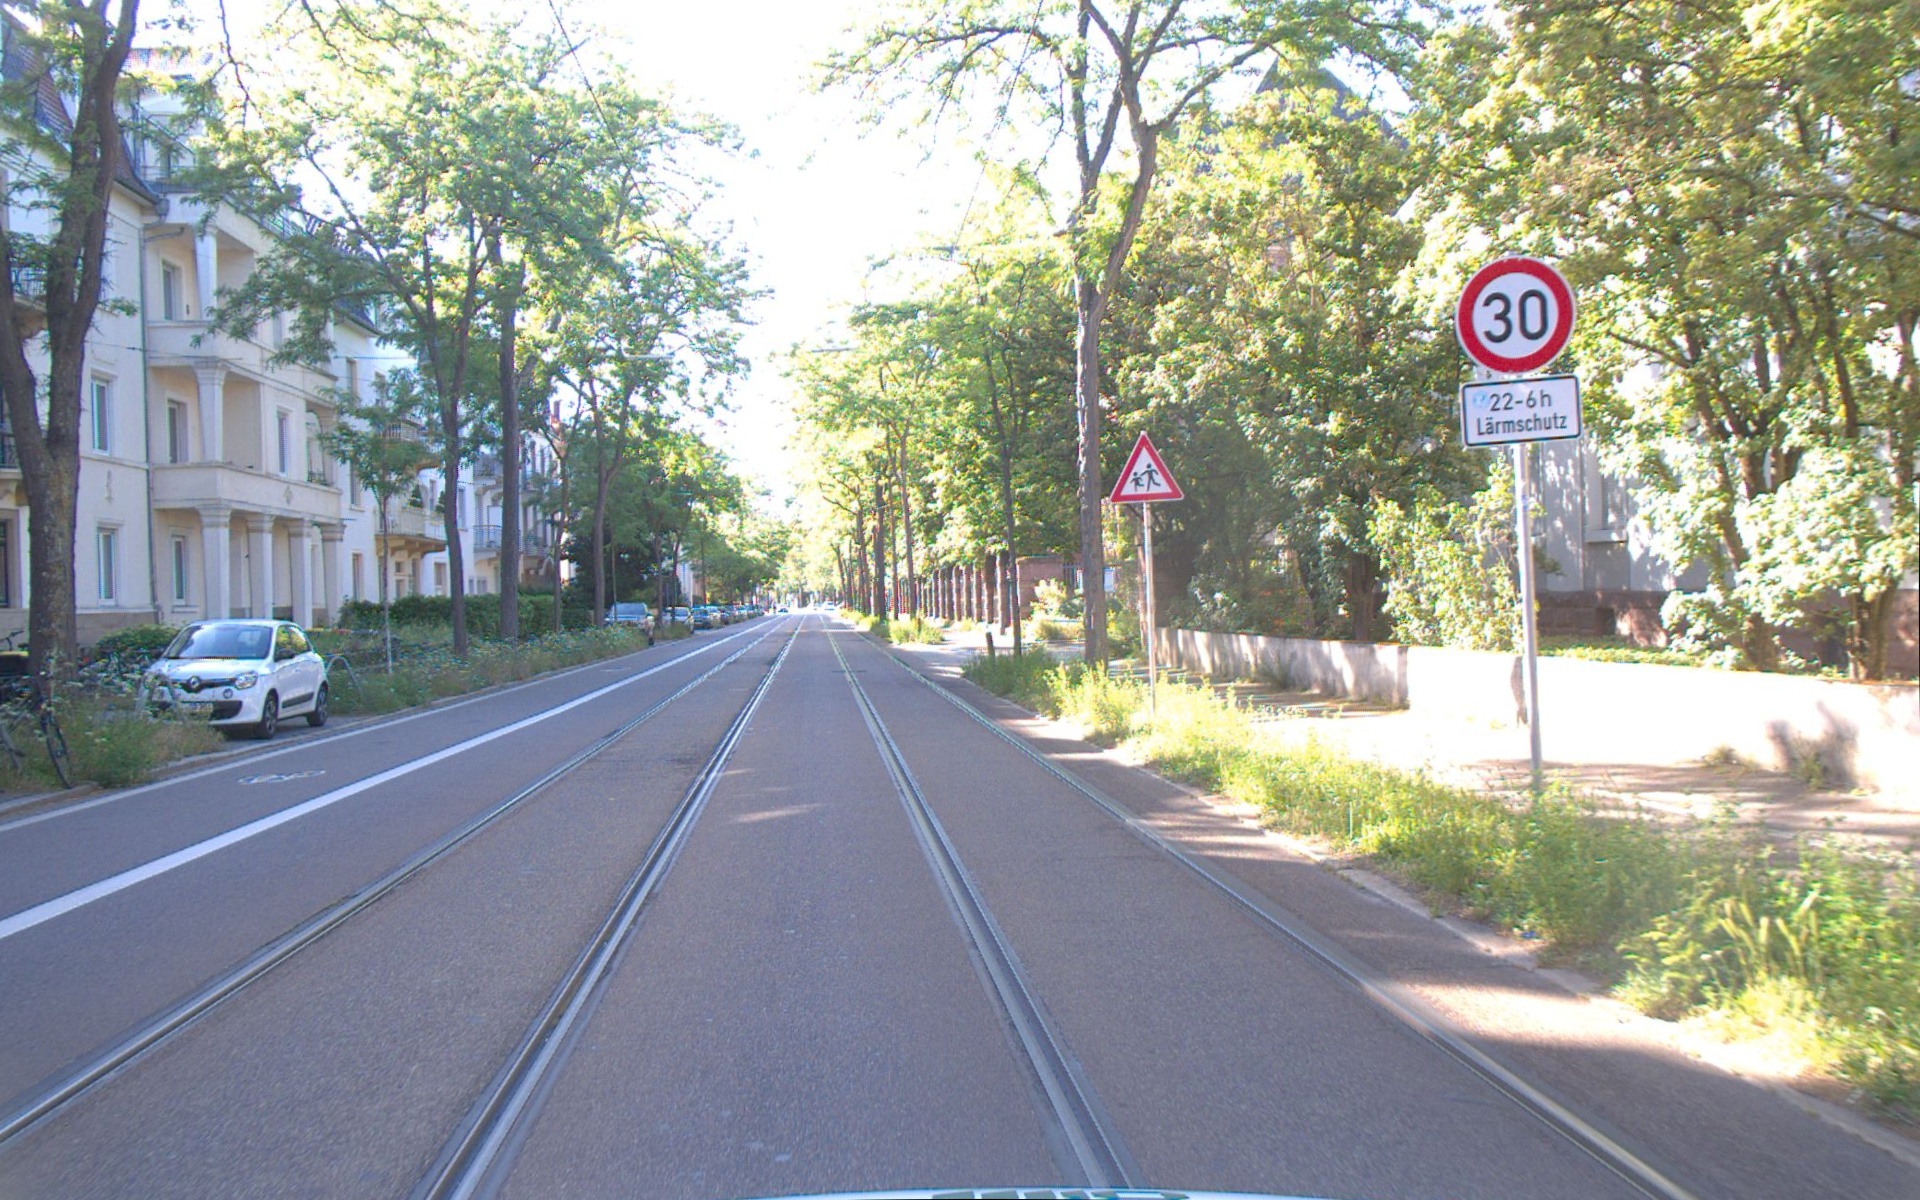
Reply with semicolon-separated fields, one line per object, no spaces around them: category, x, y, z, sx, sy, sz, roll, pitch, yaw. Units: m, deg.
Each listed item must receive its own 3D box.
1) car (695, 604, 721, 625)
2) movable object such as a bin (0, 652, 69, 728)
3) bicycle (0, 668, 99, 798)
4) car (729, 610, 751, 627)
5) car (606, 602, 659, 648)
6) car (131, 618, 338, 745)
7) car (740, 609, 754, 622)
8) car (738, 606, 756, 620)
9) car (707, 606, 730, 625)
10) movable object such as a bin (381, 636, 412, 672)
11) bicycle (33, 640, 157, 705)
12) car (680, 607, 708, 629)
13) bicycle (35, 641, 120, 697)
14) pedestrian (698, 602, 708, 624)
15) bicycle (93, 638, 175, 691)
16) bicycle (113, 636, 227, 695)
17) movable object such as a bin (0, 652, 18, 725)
car;-19.293;1.095;126.760;1.782;1.537;4.365;0;0;-6
movable object such as a bin;-13.915;1.336;24.709;0.723;1.059;0.894;-2;0;-5
bicycle;-8.971;1.226;15.202;1.777;1.141;0.542;-1;0;-5
car;-19.992;1.686;150.184;1.782;1.511;4.201;0;0;-5
car;-13.924;1.028;70.526;1.835;1.855;4.764;-1;0;-7
car;-9.944;1.059;22.939;1.594;1.562;3.684;-1;0;-7
car;-24.896;1.791;193.368;1.531;1.482;3.924;1;0;-7
car;-22.635;1.391;176.019;1.669;1.511;4.074;1;0;-5
car;-20.002;1.301;136.948;1.724;1.537;4.432;0;0;-6
movable object such as a bin;-15.020;1.433;44.061;0.615;0.937;0.739;0;0;-5
bicycle;-15.044;1.250;28.783;1.840;1.014;0.551;-2;0;-34
car;-18.522;1.227;115.112;1.673;1.431;4.328;0;0;-6
bicycle;-17.106;1.328;32.041;1.821;1.014;0.557;0;1;29
pedestrian;-21.796;1.087;140.219;0.678;1.833;0.812;-2;0;-5
bicycle;-16.879;1.306;33.787;1.821;1.014;0.557;0;1;29
bicycle;-14.818;1.219;31.059;0.548;1.014;1.852;-2;0;41
movable object such as a bin;-14.653;1.332;24.647;0.723;1.072;0.894;-2;0;-5
